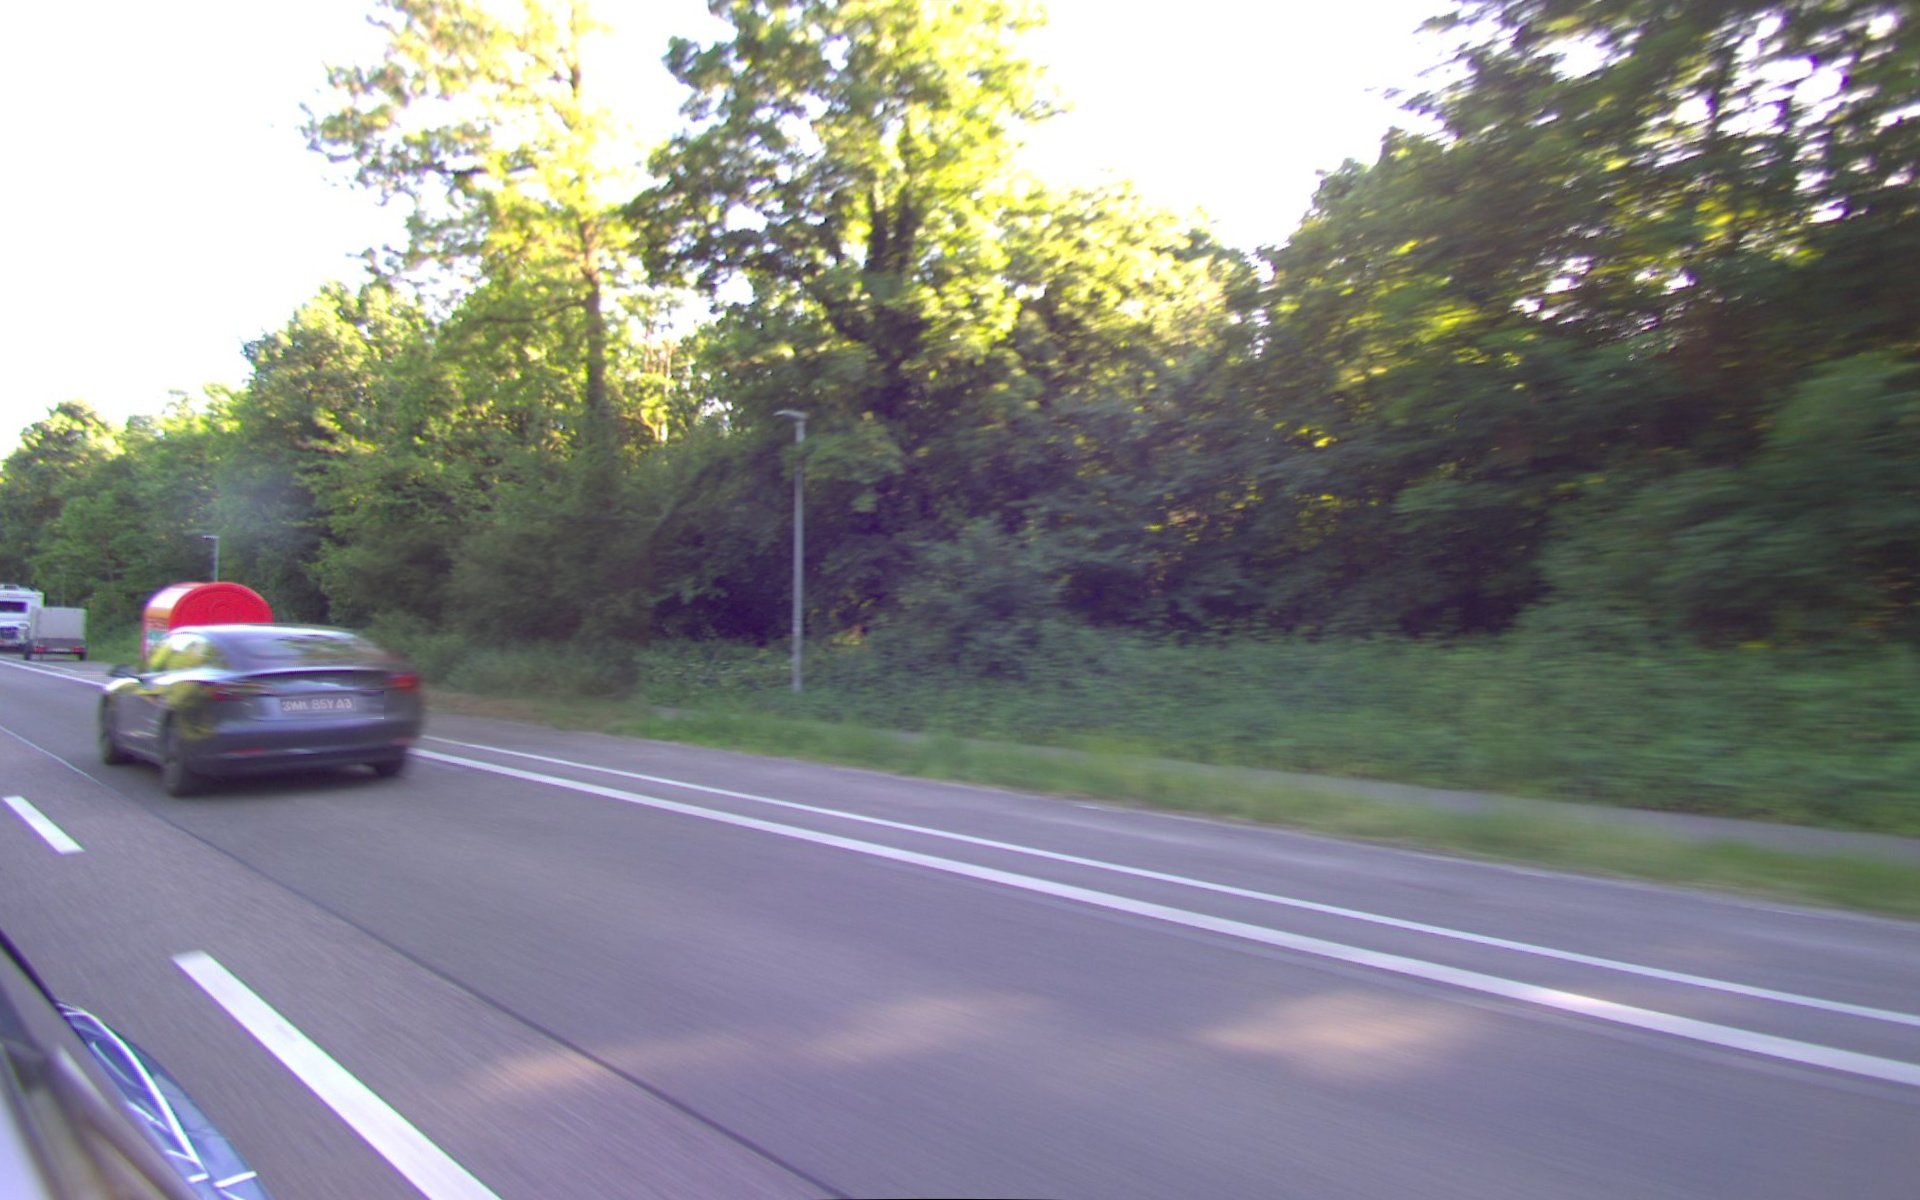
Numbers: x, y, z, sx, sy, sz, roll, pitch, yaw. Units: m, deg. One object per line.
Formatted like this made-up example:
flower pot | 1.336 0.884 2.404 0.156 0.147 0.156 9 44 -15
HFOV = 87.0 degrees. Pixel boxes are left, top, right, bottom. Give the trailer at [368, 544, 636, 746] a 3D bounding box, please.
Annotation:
trailer | -6.559 0.606 14.414 3.555 2.499 2.047 -1 -2 38

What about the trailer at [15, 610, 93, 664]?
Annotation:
trailer | -36.051 1.493 40.252 3.560 2.029 1.833 -1 -4 42

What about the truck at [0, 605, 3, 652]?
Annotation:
truck | -61.373 1.789 62.506 8.419 2.845 2.457 -2 -1 41

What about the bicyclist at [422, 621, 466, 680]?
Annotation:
bicyclist | -12.567 1.219 24.640 0.905 1.374 0.664 -1 0 41

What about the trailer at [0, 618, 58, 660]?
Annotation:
trailer | -46.179 1.867 49.456 6.260 1.929 2.403 -2 -1 41

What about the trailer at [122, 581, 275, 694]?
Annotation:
trailer | -18.323 0.886 24.329 3.555 2.499 2.047 -1 -2 38

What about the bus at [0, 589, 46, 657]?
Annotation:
bus | -52.731 1.232 55.300 11.194 3.456 2.799 -1 0 41

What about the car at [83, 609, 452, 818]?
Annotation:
car | -6.762 0.888 9.671 4.528 1.544 1.800 -1 -2 41
